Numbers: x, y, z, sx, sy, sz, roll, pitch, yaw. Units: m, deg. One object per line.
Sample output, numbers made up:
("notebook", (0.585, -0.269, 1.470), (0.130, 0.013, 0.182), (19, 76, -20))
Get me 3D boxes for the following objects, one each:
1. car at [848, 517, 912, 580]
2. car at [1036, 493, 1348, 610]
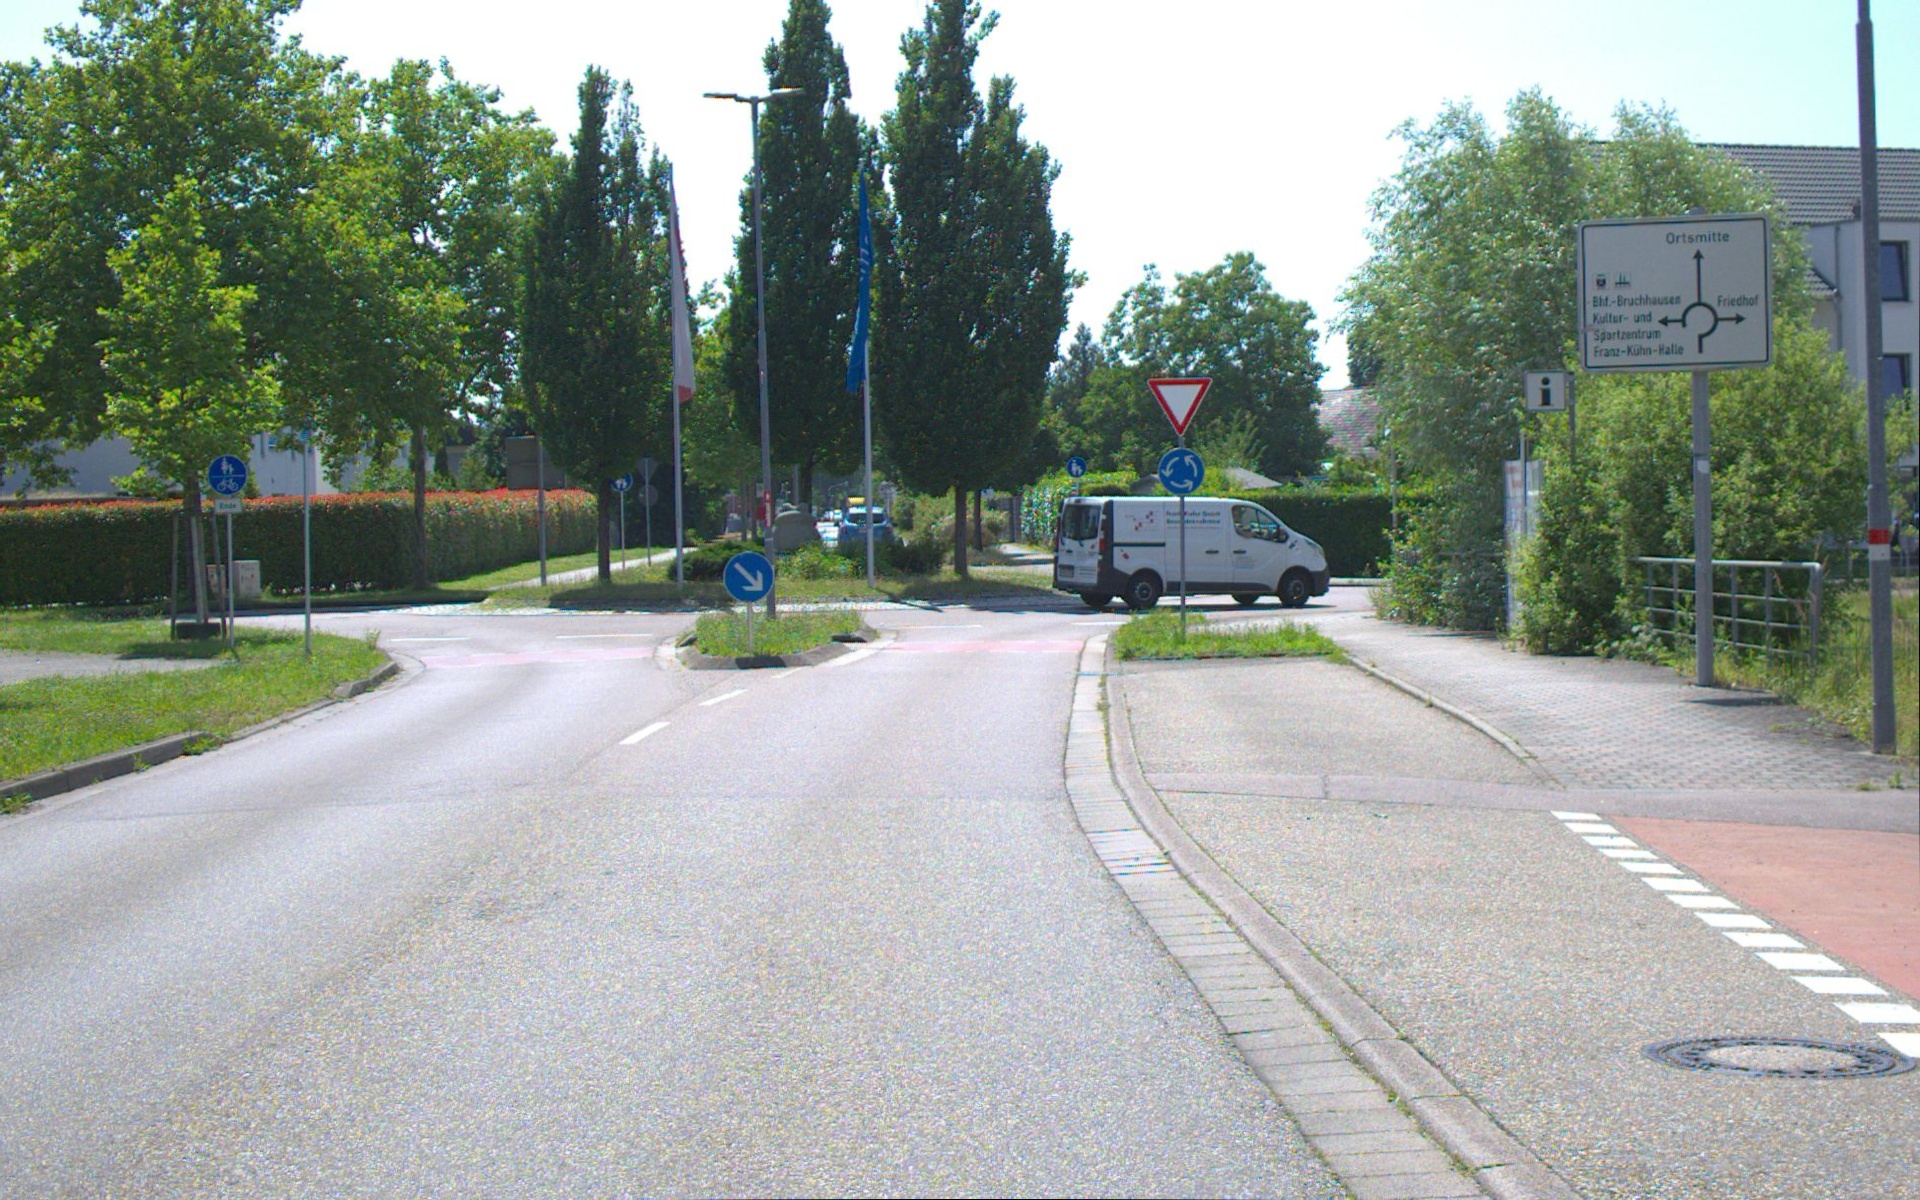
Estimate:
("car", (-2.506, -1.603, 106.527), (1.923, 1.879, 4.000), (0, 1, -2))
("car", (4.127, -0.861, 61.100), (5.130, 2.007, 2.135), (0, 1, -24))
